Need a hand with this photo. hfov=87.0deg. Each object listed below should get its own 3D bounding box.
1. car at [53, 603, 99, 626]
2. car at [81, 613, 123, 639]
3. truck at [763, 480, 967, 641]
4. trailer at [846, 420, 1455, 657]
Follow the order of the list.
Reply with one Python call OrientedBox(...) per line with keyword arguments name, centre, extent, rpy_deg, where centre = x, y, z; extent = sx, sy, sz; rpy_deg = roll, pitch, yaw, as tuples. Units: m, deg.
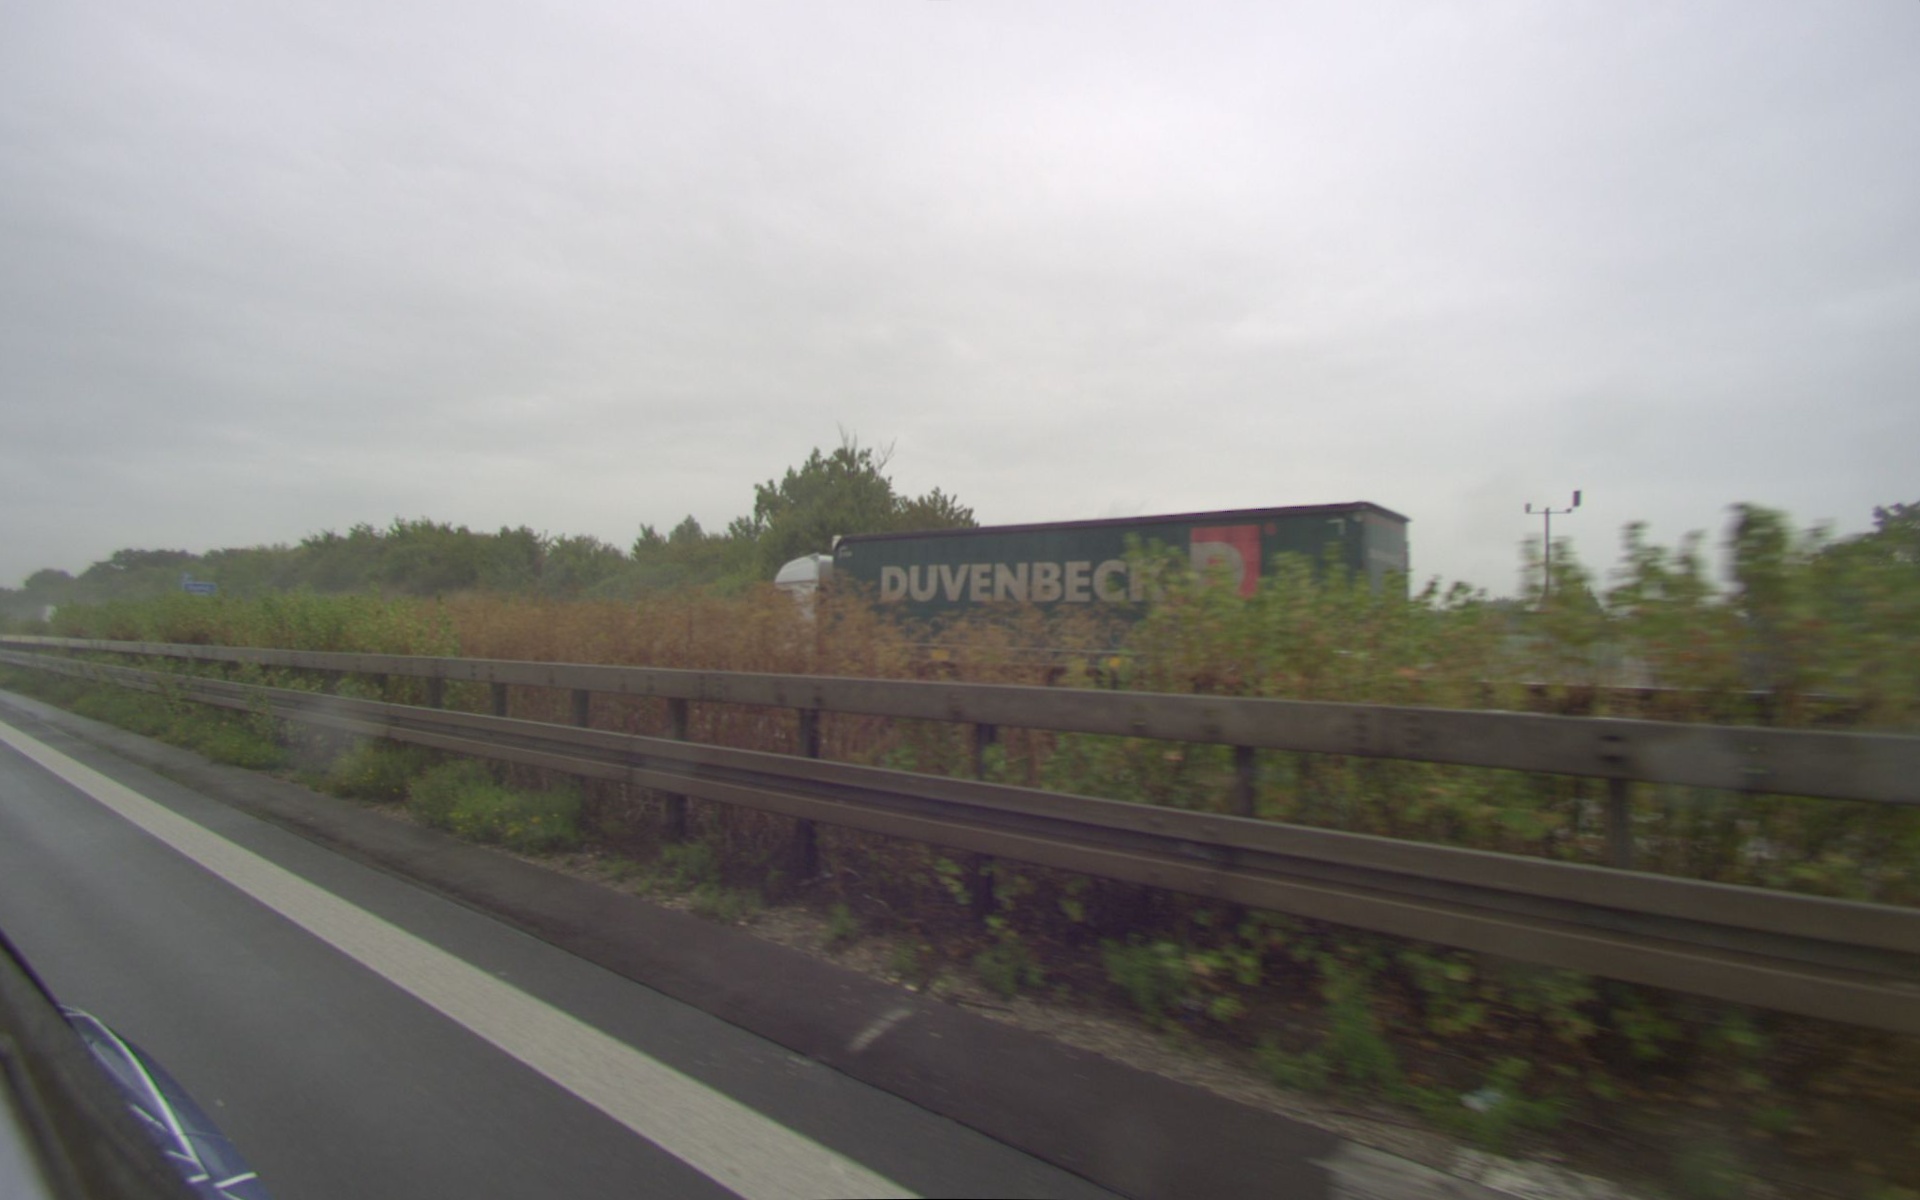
OrientedBox(name="car", centre=(-94.404, 1.549, 108.036), extent=(5.834, 2.407, 3.038), rpy_deg=(-1, 0, 42))
OrientedBox(name="car", centre=(-66.273, 1.988, 78.140), extent=(4.366, 1.937, 1.809), rpy_deg=(-1, 0, 41))
OrientedBox(name="truck", centre=(-2.599, -0.913, 26.777), extent=(5.397, 3.834, 2.293), rpy_deg=(-1, 0, 41))
OrientedBox(name="trailer", centre=(2.996, -0.924, 21.763), extent=(13.605, 3.833, 2.271), rpy_deg=(-1, 0, 41))
